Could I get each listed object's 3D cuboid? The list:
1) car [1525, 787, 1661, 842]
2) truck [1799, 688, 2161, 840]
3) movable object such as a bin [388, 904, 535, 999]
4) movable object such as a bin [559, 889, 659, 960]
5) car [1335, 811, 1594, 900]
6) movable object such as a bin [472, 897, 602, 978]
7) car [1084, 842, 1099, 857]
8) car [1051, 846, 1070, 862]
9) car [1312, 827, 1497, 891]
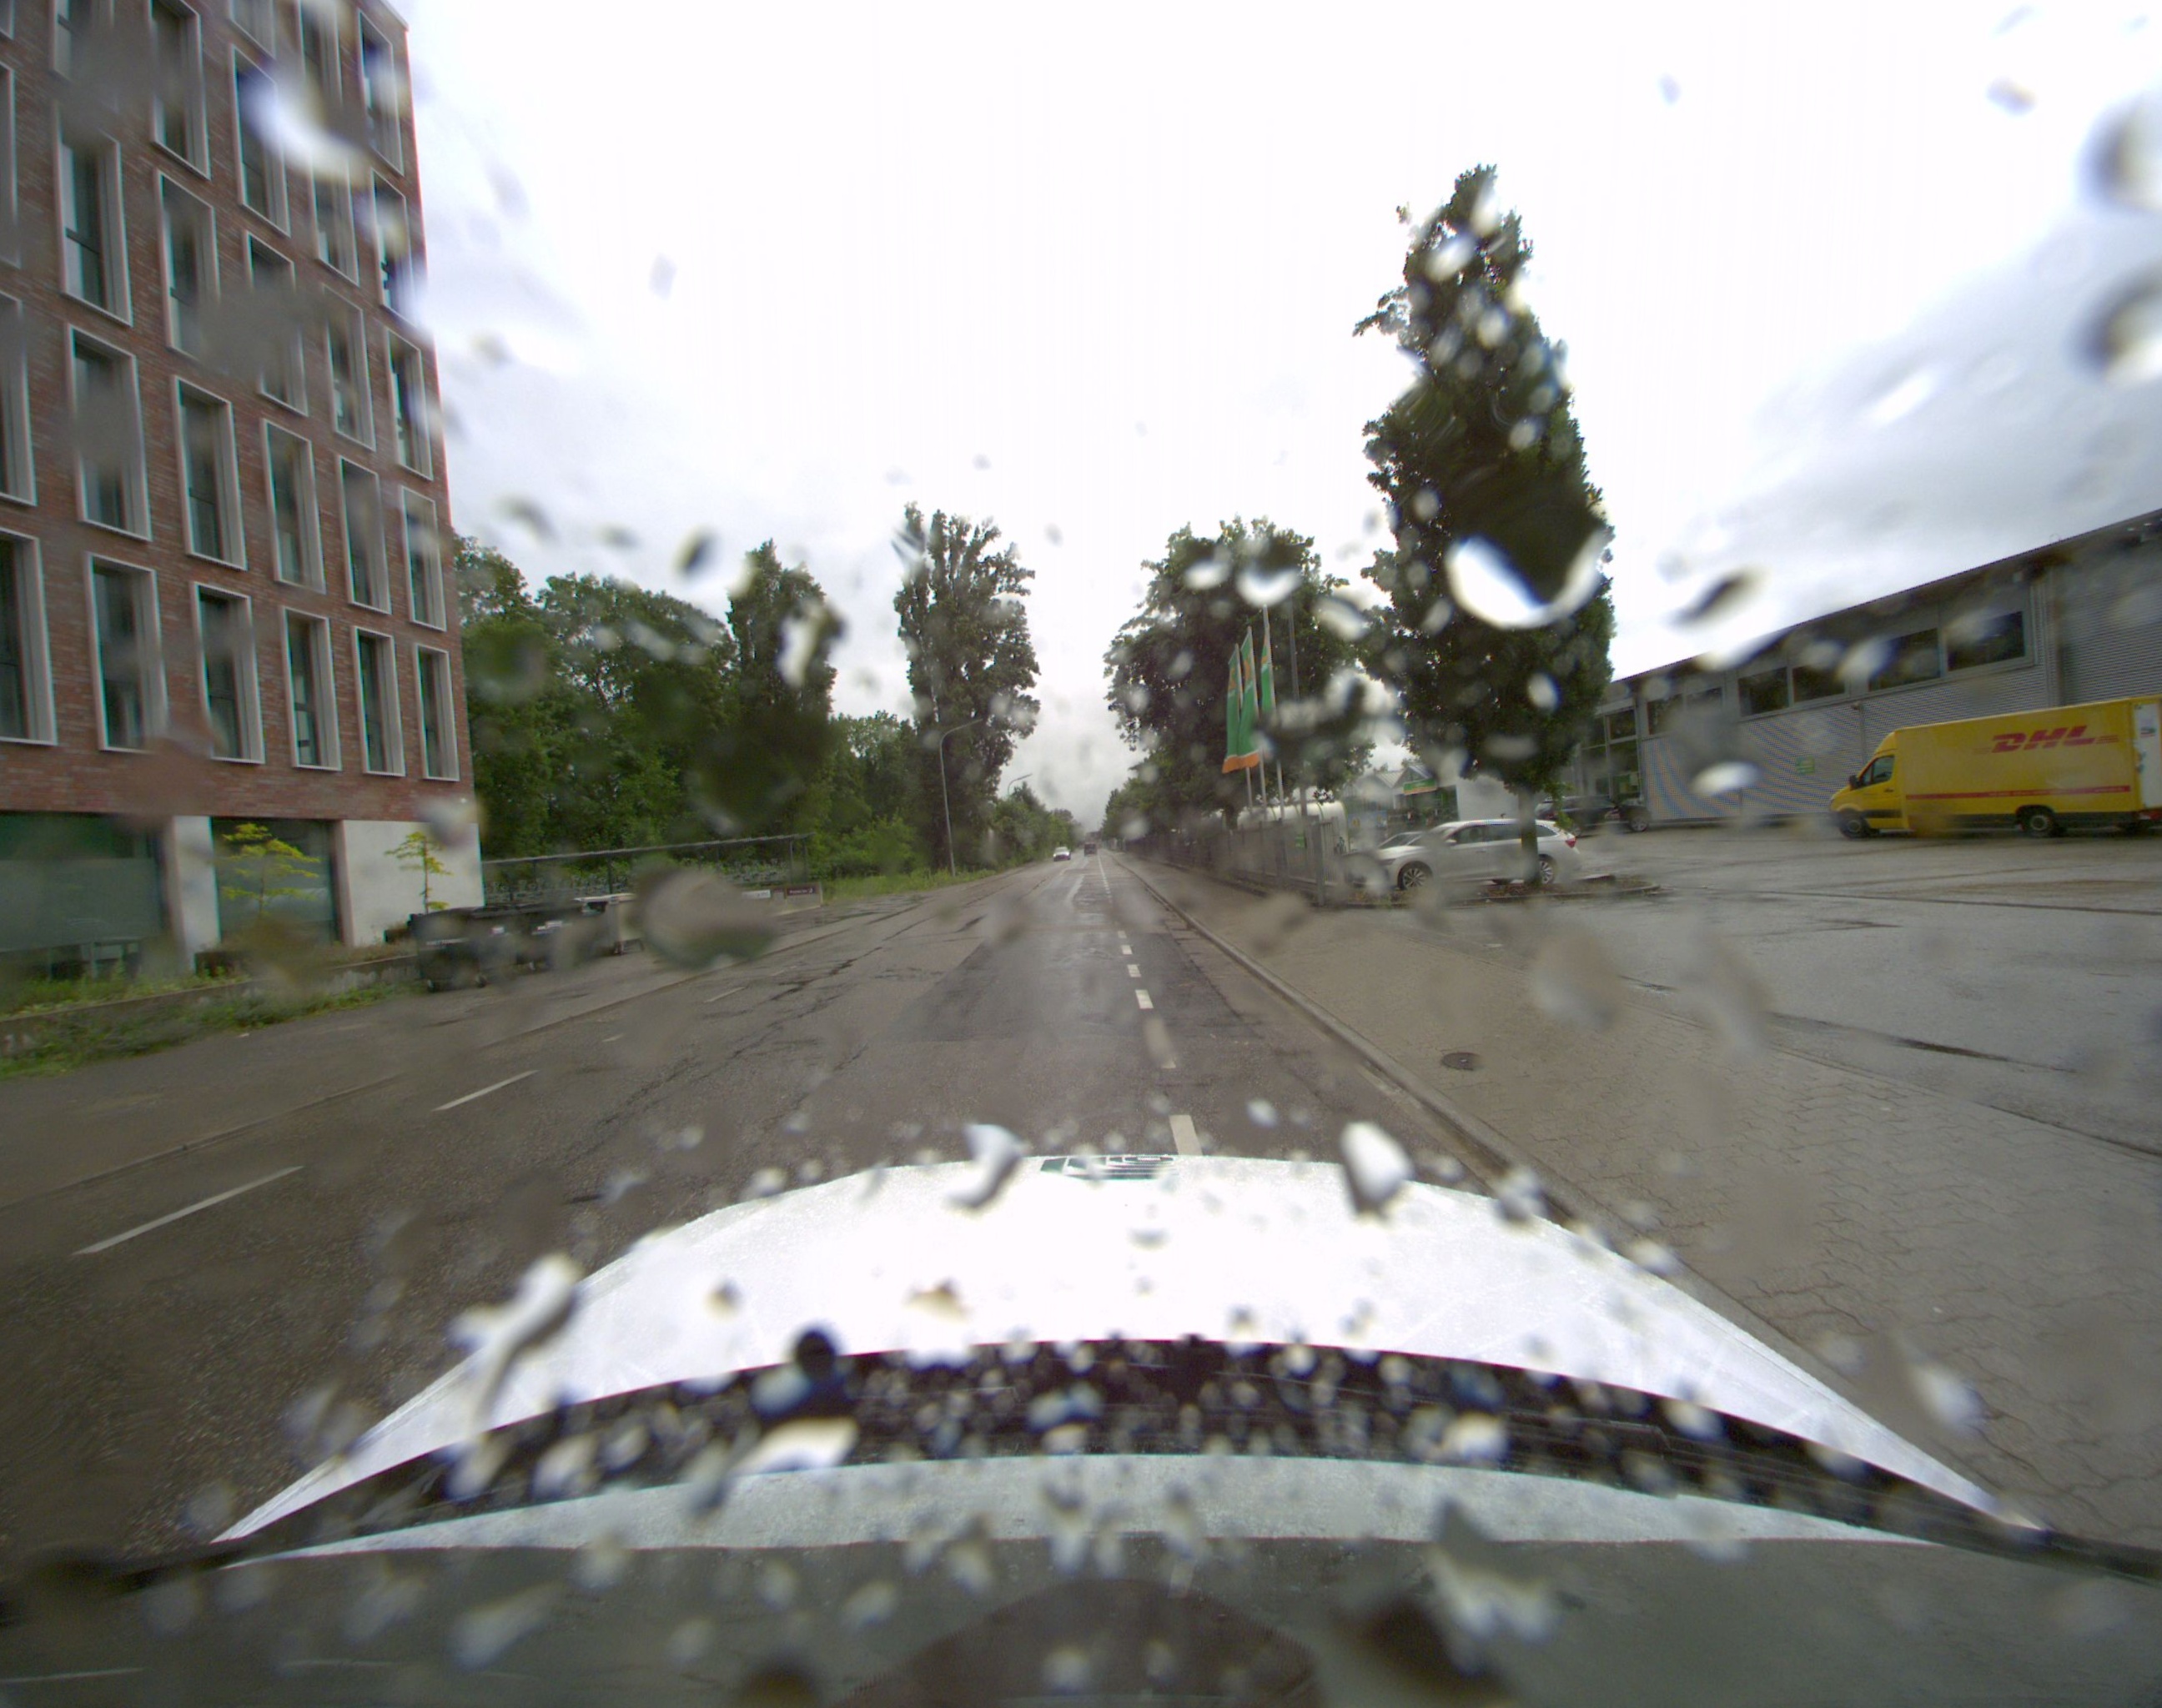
[{"bbox_3d":[21.527,-1.650,34.383,4.345,1.832,2.065,-6,1,2],"label":"car"},{"bbox_3d":[20.566,-1.787,18.424,2.291,2.659,7.425,-6,0,4],"label":"truck"},{"bbox_3d":[-10.324,1.591,13.664,1.294,1.308,1.446,-5,0,-5],"label":"movable object such as a bin"},{"bbox_3d":[-10.402,1.523,18.014,1.291,1.332,1.358,-5,0,0],"label":"movable object such as a bin"},{"bbox_3d":[8.208,0.023,17.717,4.689,1.462,1.890,-4,0,-1],"label":"car"},{"bbox_3d":[-10.321,1.568,15.491,1.362,1.308,1.457,-5,0,23],"label":"movable object such as a bin"},{"bbox_3d":[1.449,-0.609,114.496,1.987,1.910,4.200,-6,0,0],"label":"car"},{"bbox_3d":[-2.300,-0.023,91.456,1.727,1.450,4.383,-8,0,2],"label":"car"},{"bbox_3d":[7.967,0.122,20.271,3.926,1.256,1.618,-4,0,-1],"label":"car"}]
